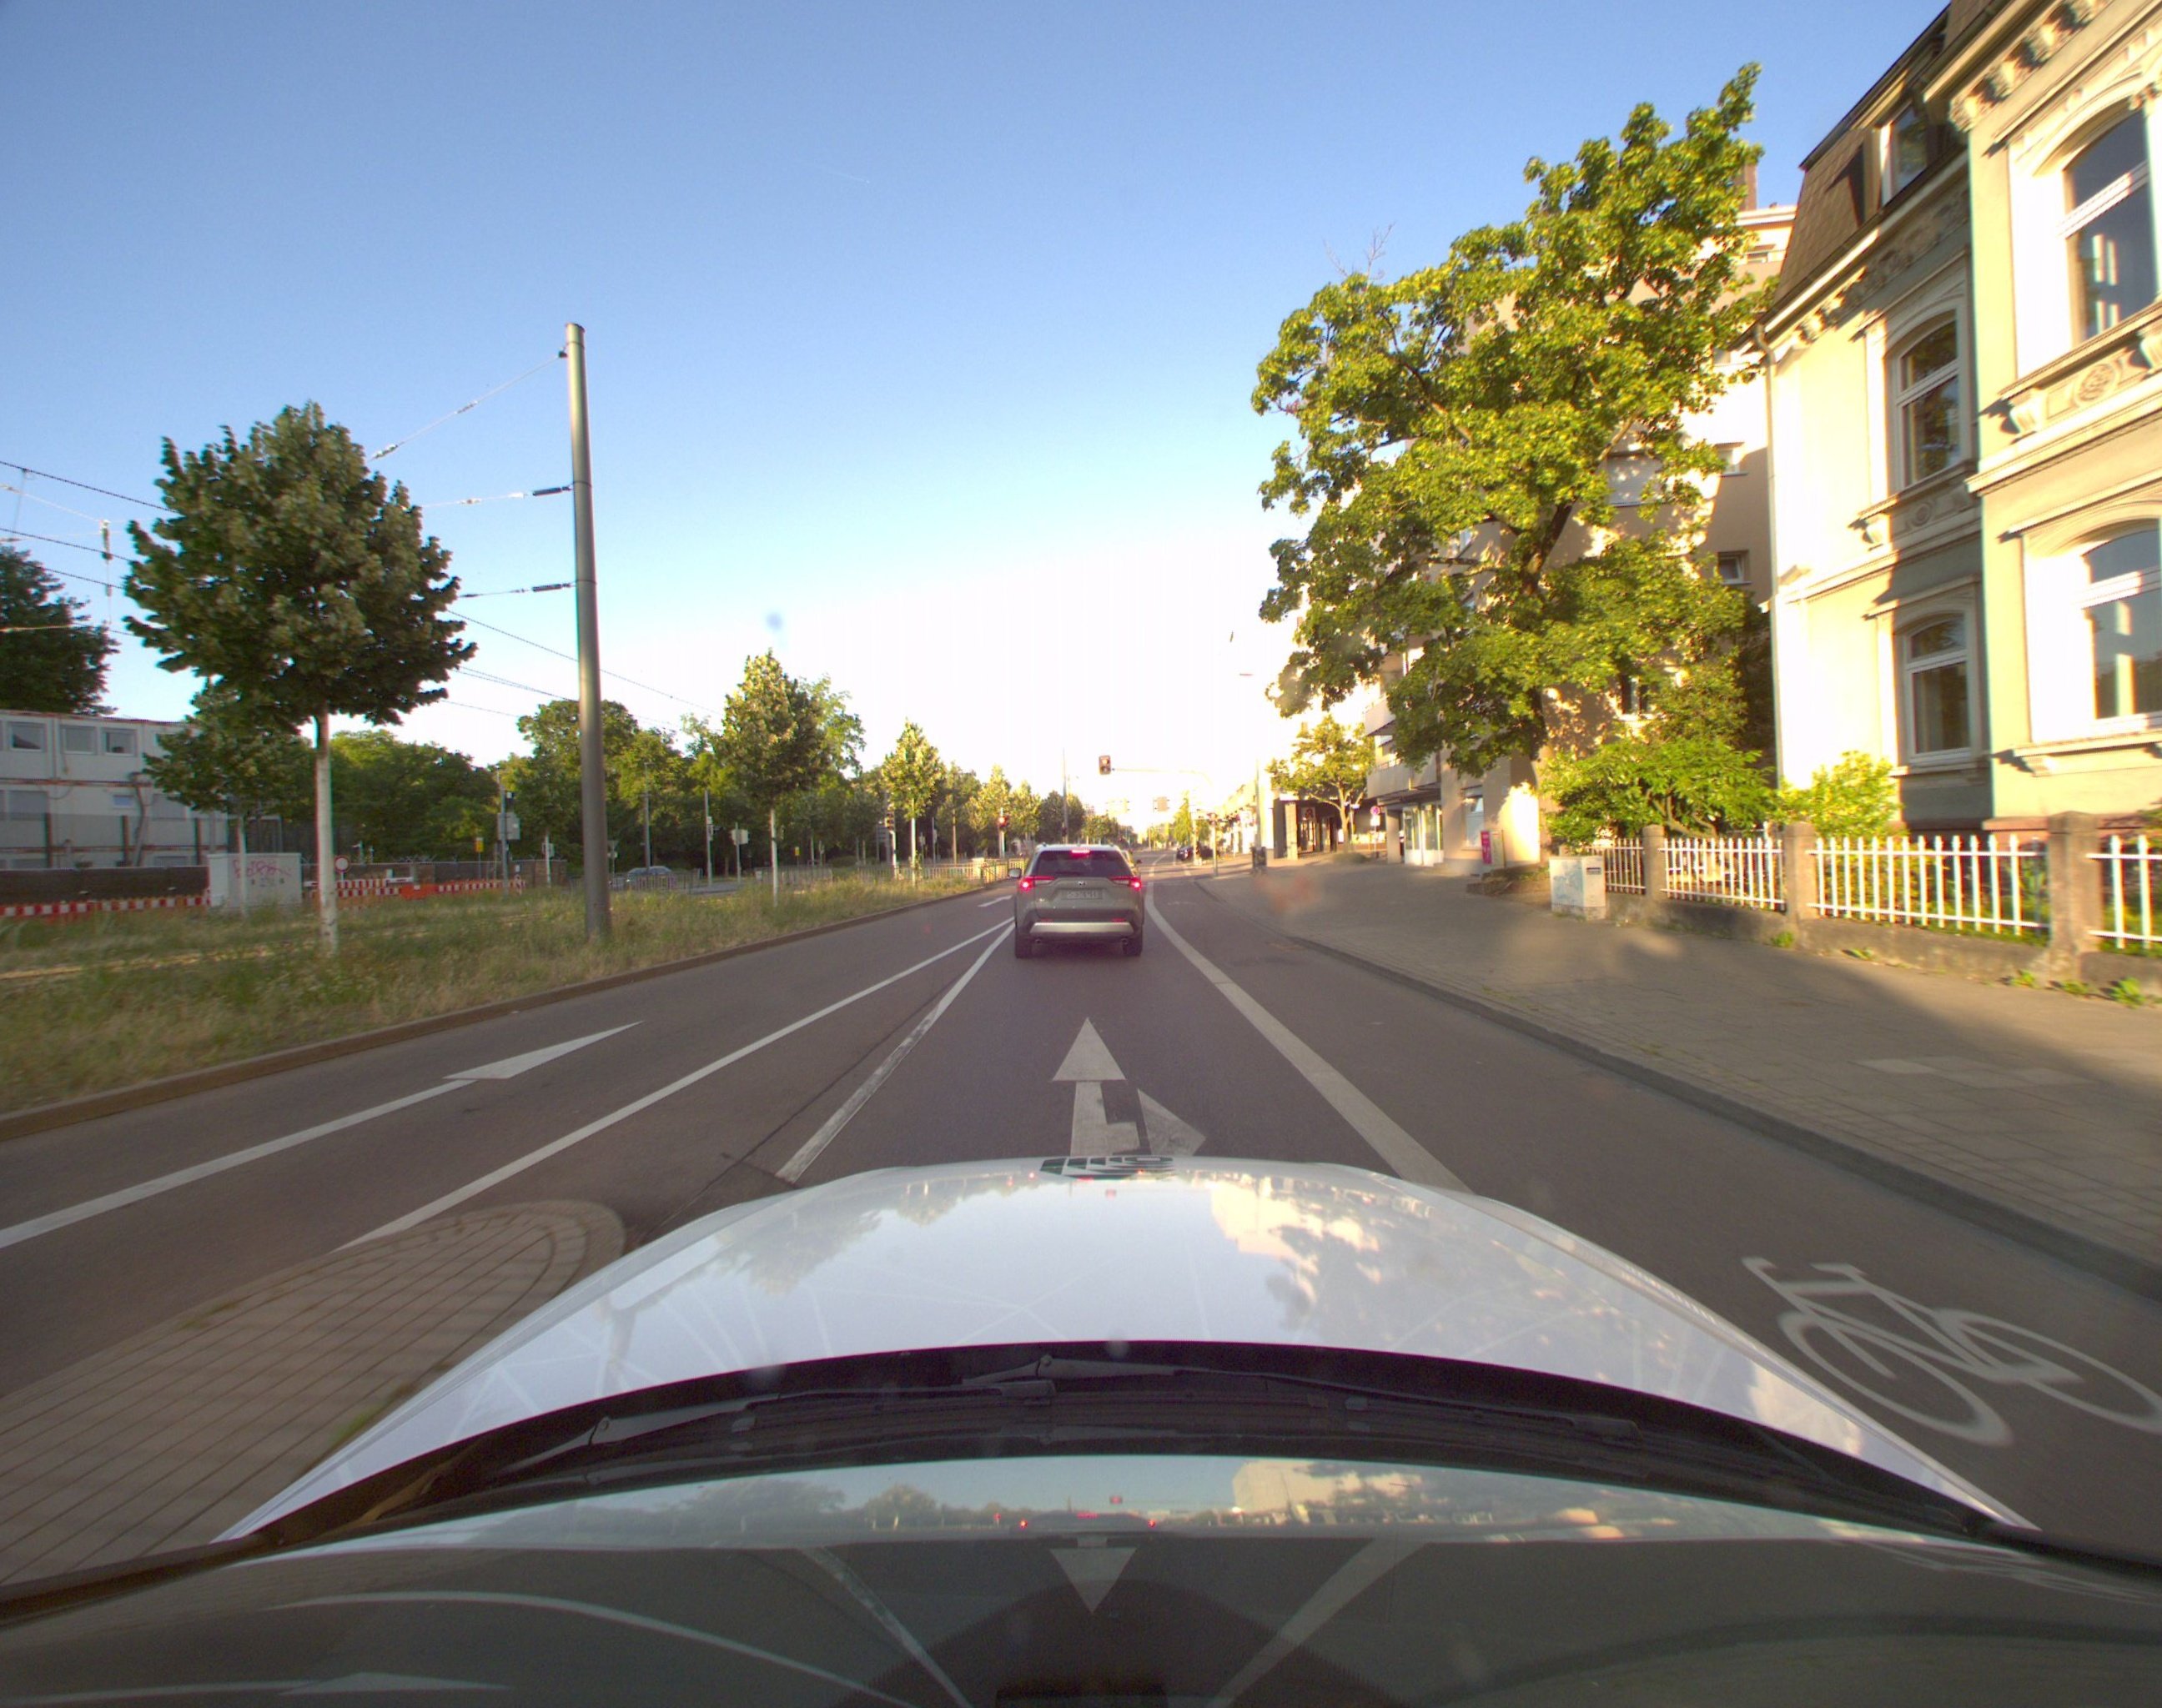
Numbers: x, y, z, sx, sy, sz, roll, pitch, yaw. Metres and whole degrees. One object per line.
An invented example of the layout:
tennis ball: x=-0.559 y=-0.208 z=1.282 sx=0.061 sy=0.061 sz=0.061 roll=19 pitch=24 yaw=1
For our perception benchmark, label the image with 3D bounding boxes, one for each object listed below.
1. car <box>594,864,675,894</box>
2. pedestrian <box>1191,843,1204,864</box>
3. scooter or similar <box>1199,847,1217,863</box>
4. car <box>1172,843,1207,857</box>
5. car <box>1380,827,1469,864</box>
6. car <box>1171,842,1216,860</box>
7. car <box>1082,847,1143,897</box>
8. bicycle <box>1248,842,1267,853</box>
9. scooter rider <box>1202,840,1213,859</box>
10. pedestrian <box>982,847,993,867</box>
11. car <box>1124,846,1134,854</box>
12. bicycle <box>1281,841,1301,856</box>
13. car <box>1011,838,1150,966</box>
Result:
car: x=-26.492 y=1.469 z=48.516 sx=1.922 sy=1.481 sz=4.532 roll=-1 pitch=2 yaw=7
pedestrian: x=8.892 y=-0.055 z=62.216 sx=0.828 sy=1.586 sz=0.816 roll=-2 pitch=0 yaw=19
scooter or similar: x=9.987 y=0.086 z=64.206 sx=1.321 sy=1.153 sz=0.515 roll=-2 pitch=0 yaw=11
car: x=14.346 y=-0.560 z=107.549 sx=4.282 sy=1.658 sz=1.843 roll=-2 pitch=2 yaw=-31
car: x=18.310 y=-0.428 z=43.609 sx=4.017 sy=1.585 sz=1.709 roll=-4 pitch=-3 yaw=8
car: x=10.965 y=-0.338 z=79.195 sx=4.289 sy=1.658 sz=1.839 roll=-2 pitch=2 yaw=-38
car: x=1.132 y=0.559 z=28.314 sx=1.924 sy=1.481 sz=4.527 roll=-1 pitch=2 yaw=3
bicycle: x=19.680 y=-0.740 z=90.980 sx=2.003 sy=1.149 sz=0.692 roll=1 pitch=0 yaw=10
scooter rider: x=9.967 y=-0.355 z=64.236 sx=0.815 sy=1.514 sz=0.655 roll=-2 pitch=0 yaw=11
pedestrian: x=-8.156 y=0.294 z=71.088 sx=0.831 sy=1.712 sz=0.648 roll=-2 pitch=0 yaw=3
car: x=10.040 y=-0.784 z=169.809 sx=1.970 sy=1.433 sz=4.849 roll=-1 pitch=2 yaw=5
bicycle: x=16.363 y=-0.418 z=63.475 sx=0.689 sy=1.149 sz=2.013 roll=1 pitch=0 yaw=-14
car: x=-0.105 y=0.608 z=13.140 sx=1.850 sy=1.658 sz=4.264 roll=-1 pitch=2 yaw=-3
